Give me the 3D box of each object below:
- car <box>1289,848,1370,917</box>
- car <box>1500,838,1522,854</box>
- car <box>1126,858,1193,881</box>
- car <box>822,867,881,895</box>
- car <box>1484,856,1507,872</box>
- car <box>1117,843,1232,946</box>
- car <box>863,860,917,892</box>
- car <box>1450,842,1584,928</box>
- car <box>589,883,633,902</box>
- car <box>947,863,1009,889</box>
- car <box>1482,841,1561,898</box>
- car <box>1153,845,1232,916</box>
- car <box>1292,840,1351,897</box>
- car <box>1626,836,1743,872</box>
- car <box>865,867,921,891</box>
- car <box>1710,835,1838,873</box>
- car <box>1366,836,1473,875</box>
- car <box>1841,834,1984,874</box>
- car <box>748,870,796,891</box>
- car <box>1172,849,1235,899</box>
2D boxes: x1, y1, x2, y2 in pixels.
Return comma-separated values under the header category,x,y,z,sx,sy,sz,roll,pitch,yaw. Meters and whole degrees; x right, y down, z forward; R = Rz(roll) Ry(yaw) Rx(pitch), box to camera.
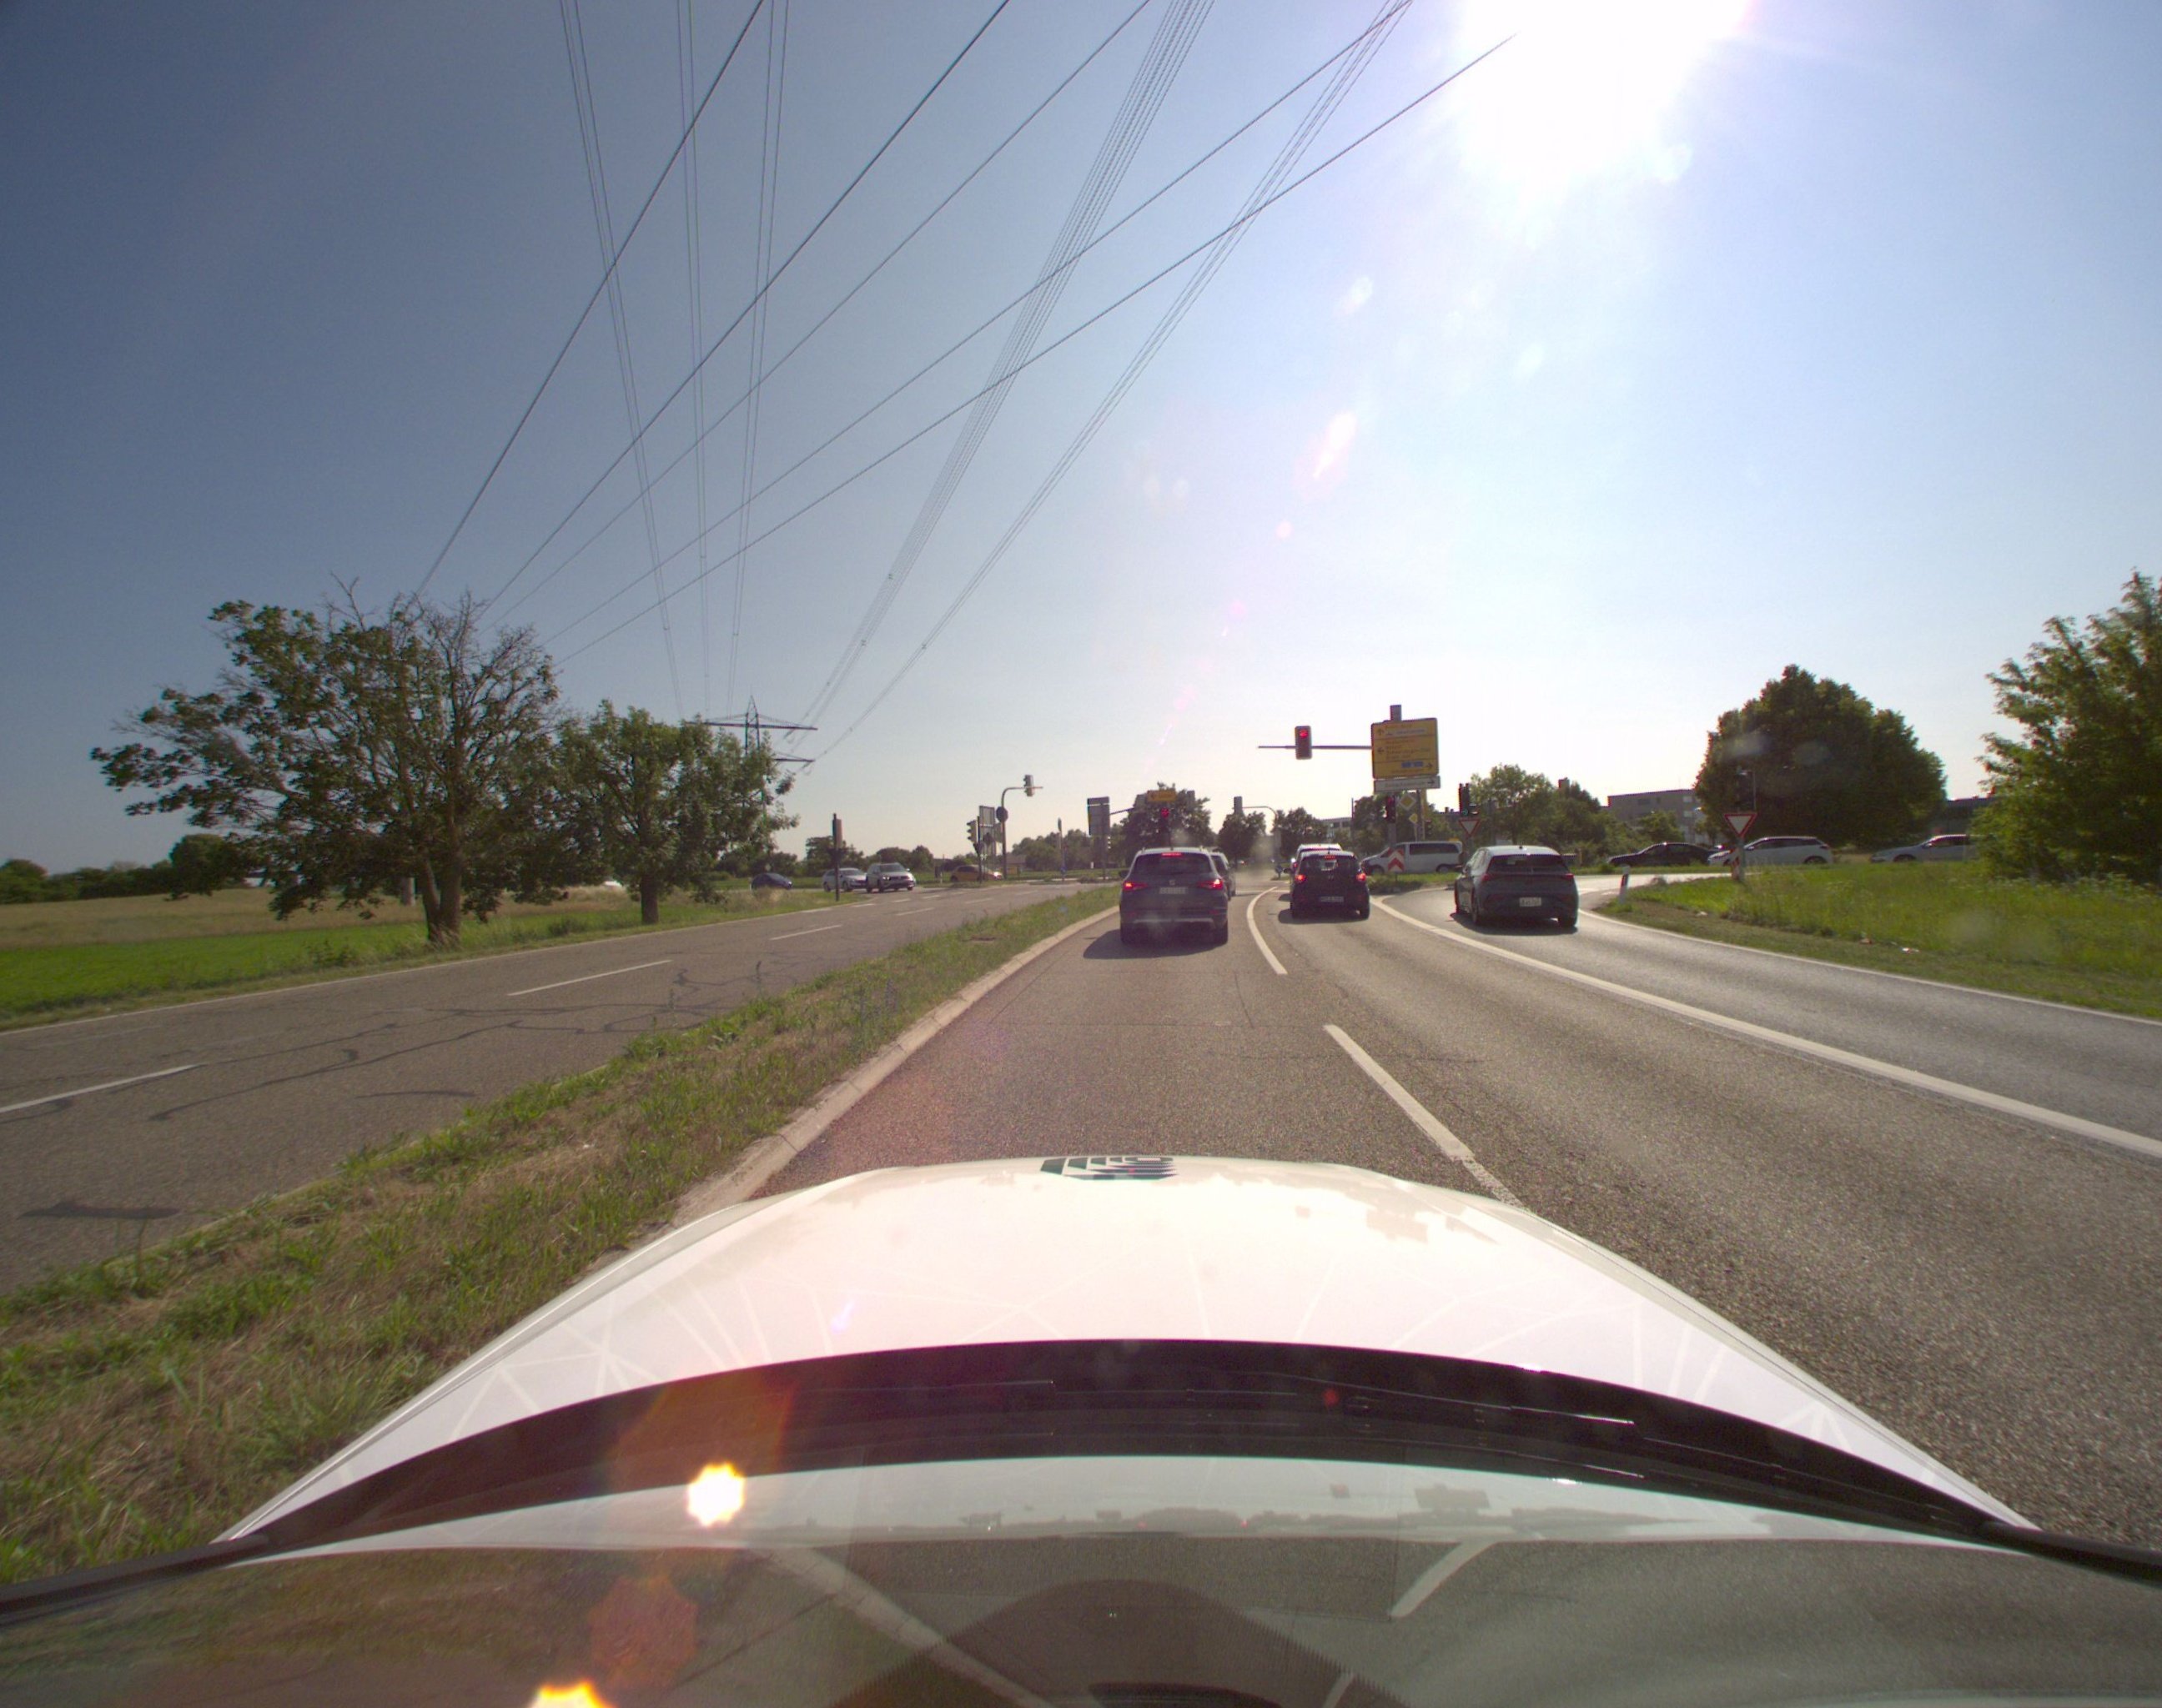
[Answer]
category,x,y,z,sx,sy,sz,roll,pitch,yaw
car,5.710,0.603,18.994,1.621,1.448,3.307,-1,0,14
car,58.953,-1.121,111.605,1.911,2.137,4.670,0,0,37
car,5.176,1.027,53.845,4.050,1.416,1.728,-2,-1,33
car,-14.297,1.667,50.613,1.830,1.651,3.951,-1,-1,-43
car,43.789,1.016,86.034,1.858,1.673,3.794,0,0,32
car,1.678,0.646,14.525,1.733,1.569,3.631,-2,0,7
car,-10.644,1.227,45.214,1.826,1.651,3.961,-1,-1,-30
car,8.789,0.535,16.751,1.758,1.517,4.119,-1,1,19
car,-45.331,3.721,78.545,4.699,1.651,1.832,-2,-1,35
car,-7.074,1.502,55.811,3.948,1.651,1.832,-2,-1,35
car,12.528,0.395,23.044,1.625,1.385,4.026,-2,0,33
car,2.733,0.606,19.960,1.732,1.569,3.632,0,0,8
car,7.581,0.444,25.895,1.621,1.677,3.763,-1,0,14
car,28.401,0.018,38.495,4.279,1.519,1.819,-2,-1,33
car,-14.115,1.857,61.033,3.948,1.651,1.832,-2,-1,35
car,28.627,0.013,33.798,3.861,1.465,1.734,-2,-1,34
car,17.219,0.076,41.515,4.887,1.918,2.011,-1,0,24
car,34.673,0.016,34.125,3.830,1.519,1.819,-2,-1,33
car,-26.281,2.277,69.282,3.948,1.651,1.832,-2,-1,35
car,3.982,0.606,25.987,1.730,1.484,3.636,0,0,12
